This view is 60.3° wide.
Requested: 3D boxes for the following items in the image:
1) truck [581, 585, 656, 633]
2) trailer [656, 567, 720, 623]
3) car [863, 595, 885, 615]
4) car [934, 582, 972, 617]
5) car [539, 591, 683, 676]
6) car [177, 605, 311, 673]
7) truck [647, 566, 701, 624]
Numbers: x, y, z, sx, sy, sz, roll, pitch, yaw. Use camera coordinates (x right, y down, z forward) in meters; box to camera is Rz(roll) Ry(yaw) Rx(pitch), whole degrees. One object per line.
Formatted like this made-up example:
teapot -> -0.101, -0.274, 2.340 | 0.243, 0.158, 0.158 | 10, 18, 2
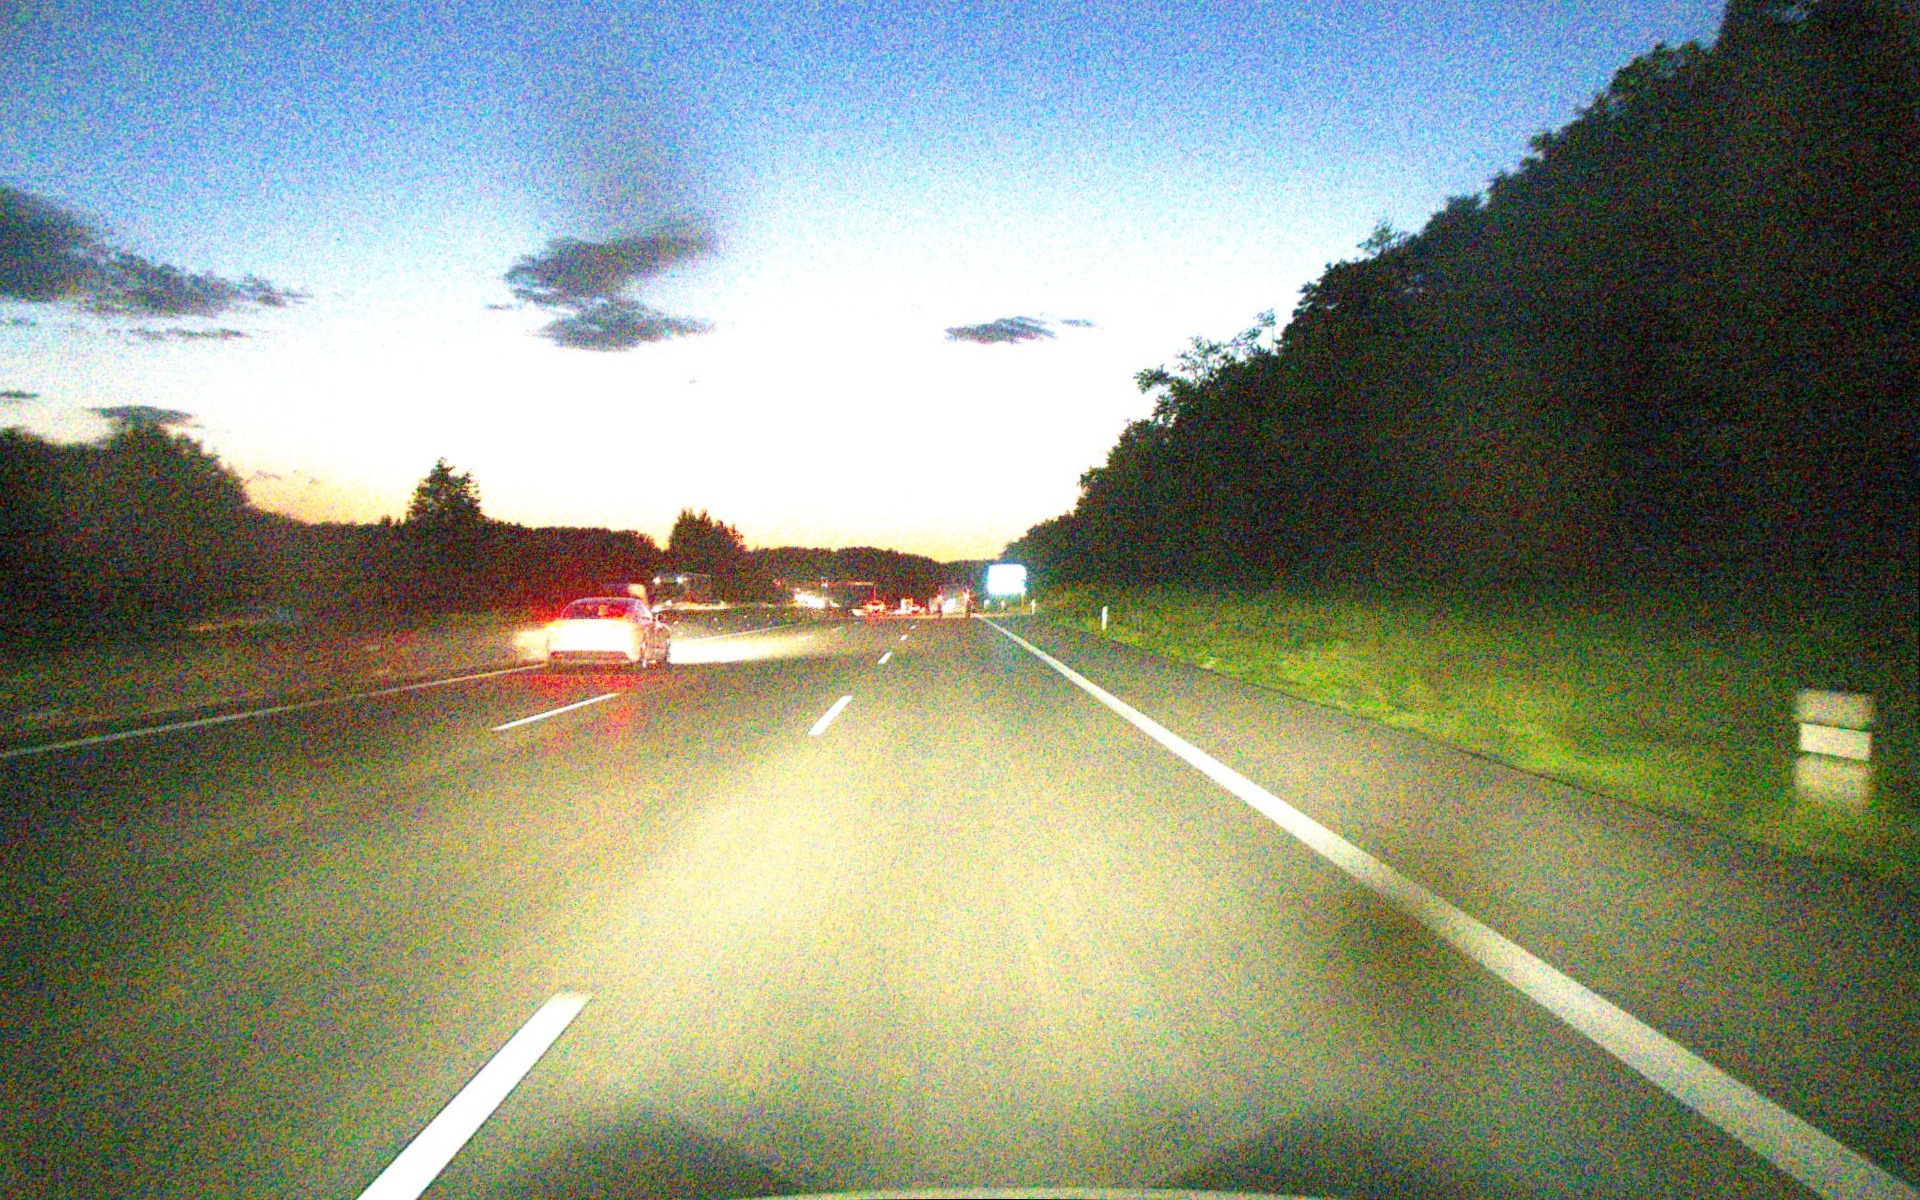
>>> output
truck -> -19.830, 0.481, 96.388 | 2.814, 2.688, 7.884 | -1, 0, -1
trailer -> -23.340, -0.429, 142.723 | 3.257, 4.511, 14.022 | -2, 0, -1
car -> -9.153, 0.524, 175.766 | 2.152, 1.989, 4.633 | 0, 0, 0
car -> -0.453, -0.038, 100.023 | 2.152, 1.989, 4.762 | -3, 0, -1
car -> -6.756, 0.593, 32.534 | 1.743, 1.513, 5.253 | 0, 0, 0
car -> -22.468, 1.175, 52.149 | 2.152, 1.989, 4.763 | 1, 0, 0
truck -> -23.271, -0.406, 134.912 | 3.257, 4.511, 6.706 | -2, 0, -1
